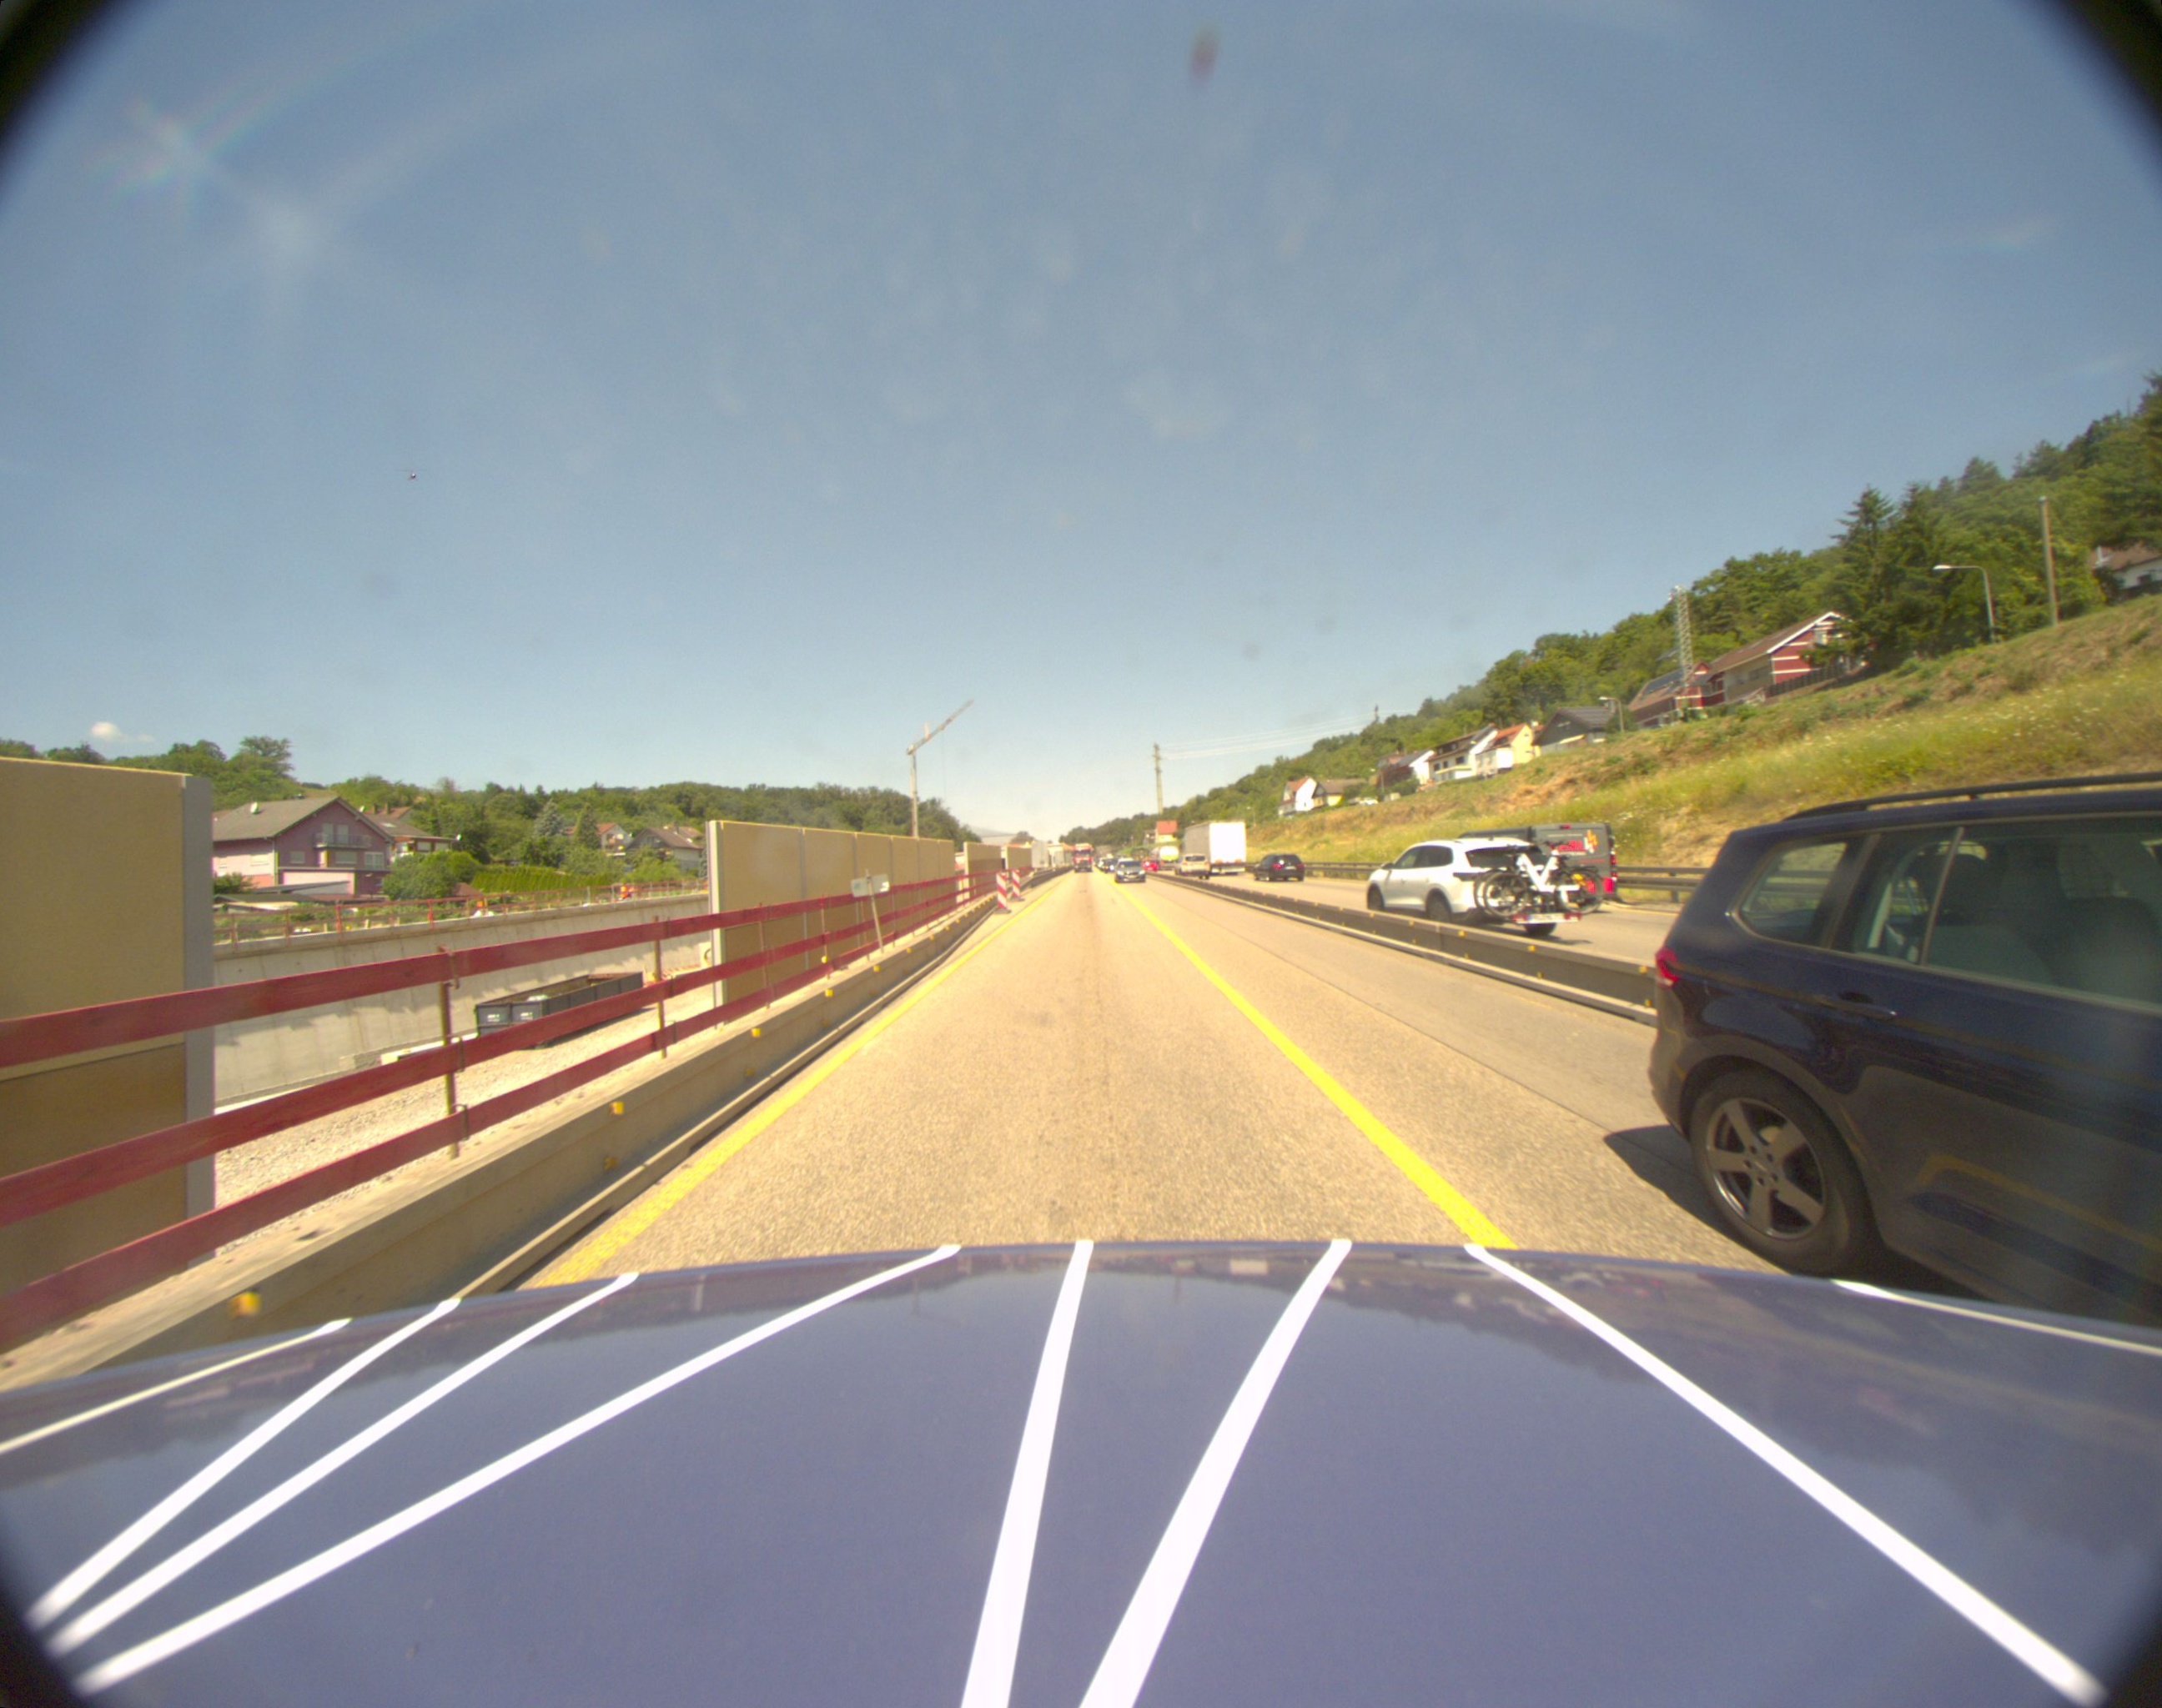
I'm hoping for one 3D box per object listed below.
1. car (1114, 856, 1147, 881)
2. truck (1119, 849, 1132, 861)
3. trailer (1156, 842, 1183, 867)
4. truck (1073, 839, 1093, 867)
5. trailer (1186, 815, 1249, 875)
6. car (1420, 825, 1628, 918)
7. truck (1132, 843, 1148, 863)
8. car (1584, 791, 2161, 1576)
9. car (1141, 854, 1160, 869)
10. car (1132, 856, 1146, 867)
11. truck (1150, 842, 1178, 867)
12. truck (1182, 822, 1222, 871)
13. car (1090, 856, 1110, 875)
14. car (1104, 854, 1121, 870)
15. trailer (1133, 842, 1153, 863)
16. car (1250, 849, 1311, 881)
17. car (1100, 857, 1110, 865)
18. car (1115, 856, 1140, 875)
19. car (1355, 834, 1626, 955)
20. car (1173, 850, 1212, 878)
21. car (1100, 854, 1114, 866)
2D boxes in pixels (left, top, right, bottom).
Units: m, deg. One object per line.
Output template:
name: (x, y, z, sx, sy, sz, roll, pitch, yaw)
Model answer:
car: (3.082, 0.925, 47.993, 1.780, 1.447, 4.336, -2, -1, 1)
truck: (12.901, 0.392, 222.822, 2.769, 3.303, 15.936, -2, 0, 0)
trailer: (11.069, 0.064, 95.438, 2.619, 2.983, 6.370, -2, 0, 1)
truck: (0.379, -0.044, 109.005, 2.605, 3.704, 10.537, -2, -1, 1)
trailer: (10.699, -0.656, 61.210, 2.792, 4.157, 13.979, -2, 0, 1)
car: (10.413, 0.366, 18.474, 2.043, 1.915, 5.121, -1, 0, 0)
truck: (11.996, -0.247, 154.258, 2.902, 3.915, 4.178, -2, 0, 0)
car: (3.201, 0.677, 1.154, 1.780, 1.708, 4.653, -2, -1, 1)
car: (7.475, 0.787, 82.296, 1.674, 1.457, 4.000, -2, 0, 1)
car: (7.927, 1.037, 104.200, 1.670, 1.386, 3.905, -2, 0, 0)
truck: (11.167, 0.056, 103.172, 2.733, 3.124, 8.959, -2, 0, 1)
truck: (10.861, -0.673, 68.681, 2.752, 4.157, 5.288, -2, 0, 0)
car: (1.760, 1.095, 71.677, 1.780, 1.682, 4.336, -2, -1, 1)
car: (3.534, 0.876, 85.510, 1.780, 1.727, 4.336, -2, -1, 1)
trailer: (11.945, -0.266, 147.972, 2.920, 3.915, 10.527, -2, 0, 0)
car: (10.560, 0.541, 40.661, 1.998, 1.498, 4.718, -3, 0, 0)
car: (4.515, 1.329, 142.504, 1.780, 1.486, 4.336, -2, -1, 1)
car: (3.804, 0.917, 62.900, 1.780, 1.447, 4.336, -2, -1, 1)
car: (6.726, 0.570, 13.354, 1.844, 1.644, 5.371, -1, 0, 0)
car: (7.119, 0.620, 48.865, 1.837, 1.656, 4.414, -2, 1, 0)
car: (3.588, 0.866, 104.668, 1.780, 1.486, 4.336, -2, -1, 1)
